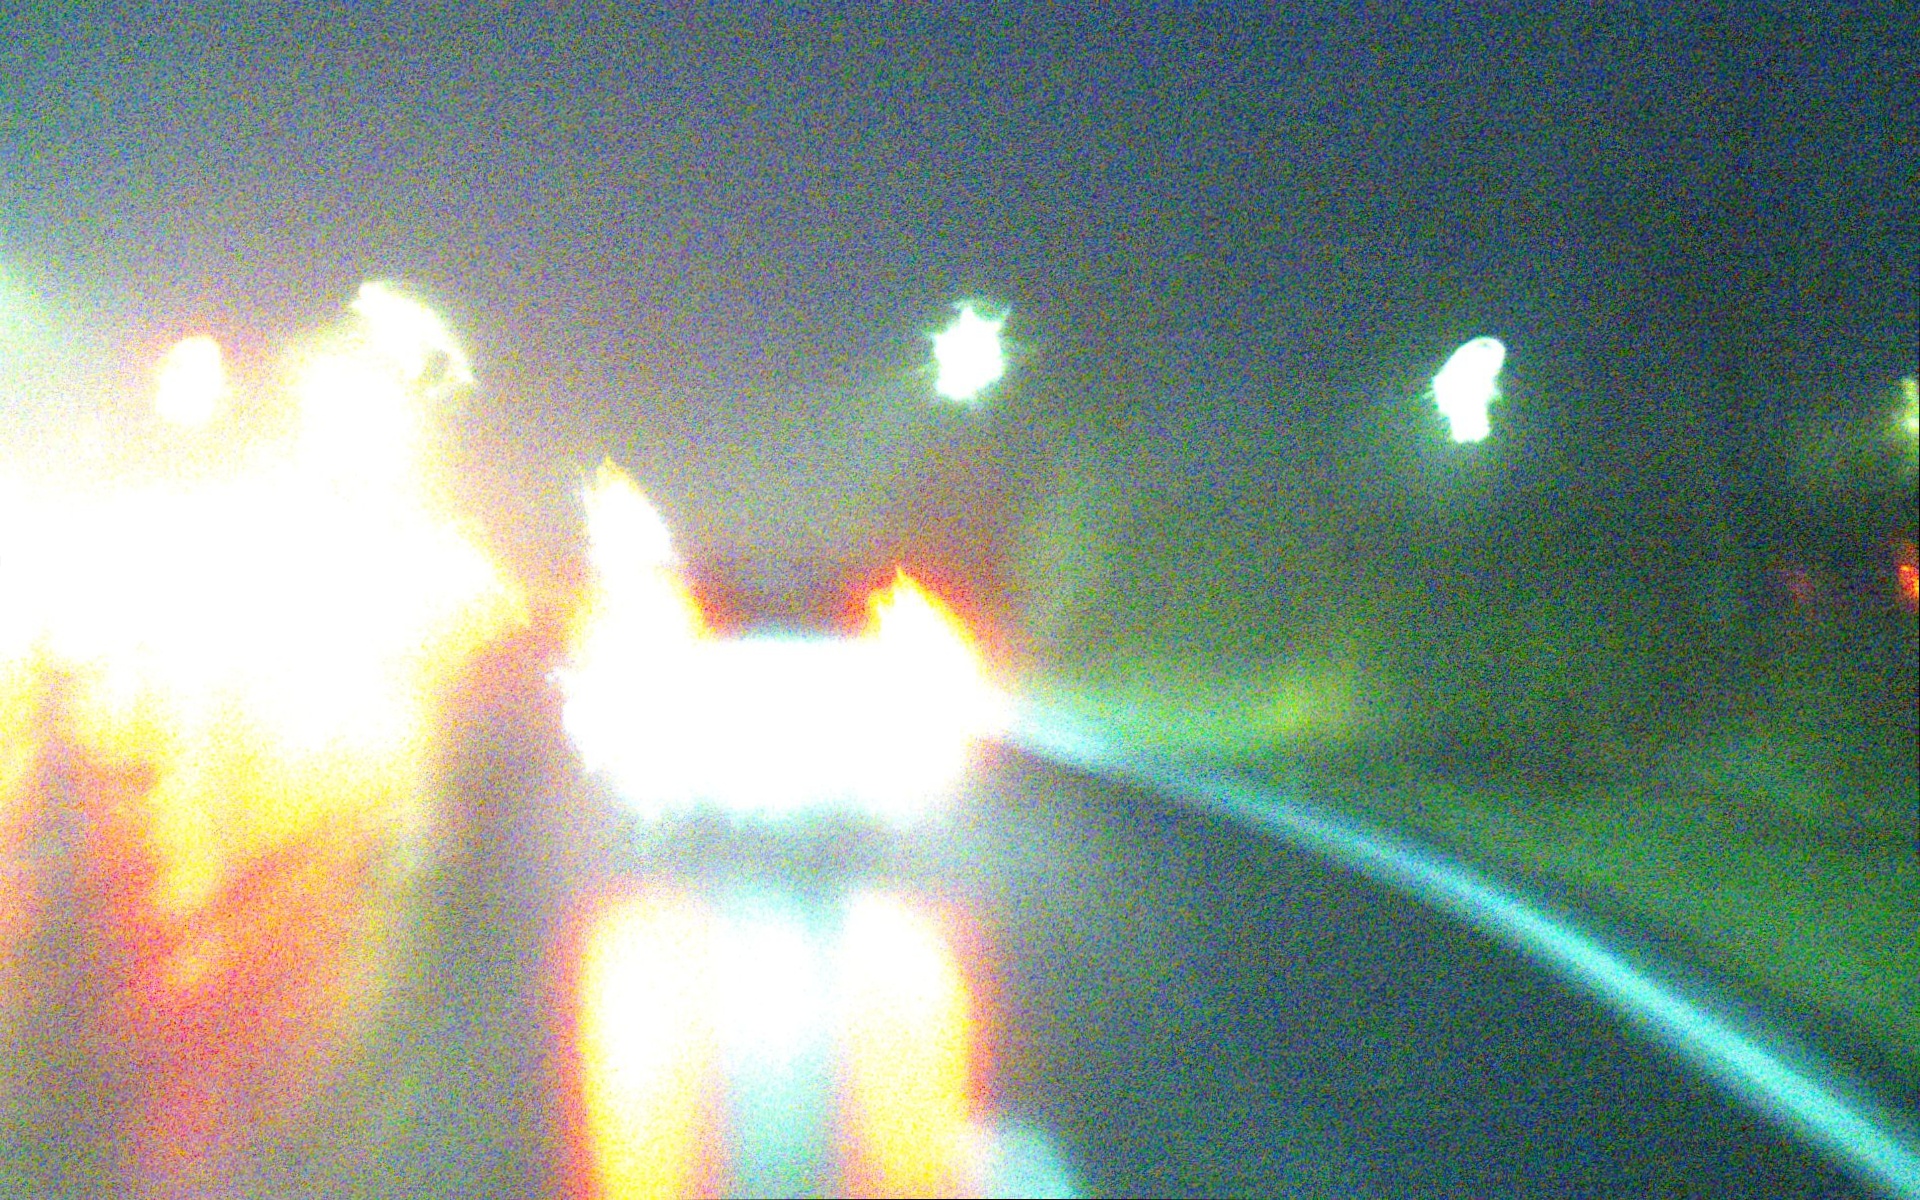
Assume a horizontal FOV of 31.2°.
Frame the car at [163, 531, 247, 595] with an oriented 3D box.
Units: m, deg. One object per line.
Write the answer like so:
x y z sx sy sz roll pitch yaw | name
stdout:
-20.969 -1.056 95.342 1.993 1.622 4.986 -2 2 -15 | car

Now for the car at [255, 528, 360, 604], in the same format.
-15.331 -0.822 80.551 1.993 1.622 4.986 -2 2 -15 | car

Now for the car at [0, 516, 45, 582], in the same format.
-25.191 -1.356 90.601 1.993 1.622 4.986 -2 2 -15 | car

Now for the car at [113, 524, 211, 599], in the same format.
-18.707 -0.924 80.466 1.993 1.622 4.986 -2 2 -15 | car

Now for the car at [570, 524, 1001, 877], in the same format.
-0.893 0.478 18.608 1.993 1.622 4.985 1 0 -2 | car
